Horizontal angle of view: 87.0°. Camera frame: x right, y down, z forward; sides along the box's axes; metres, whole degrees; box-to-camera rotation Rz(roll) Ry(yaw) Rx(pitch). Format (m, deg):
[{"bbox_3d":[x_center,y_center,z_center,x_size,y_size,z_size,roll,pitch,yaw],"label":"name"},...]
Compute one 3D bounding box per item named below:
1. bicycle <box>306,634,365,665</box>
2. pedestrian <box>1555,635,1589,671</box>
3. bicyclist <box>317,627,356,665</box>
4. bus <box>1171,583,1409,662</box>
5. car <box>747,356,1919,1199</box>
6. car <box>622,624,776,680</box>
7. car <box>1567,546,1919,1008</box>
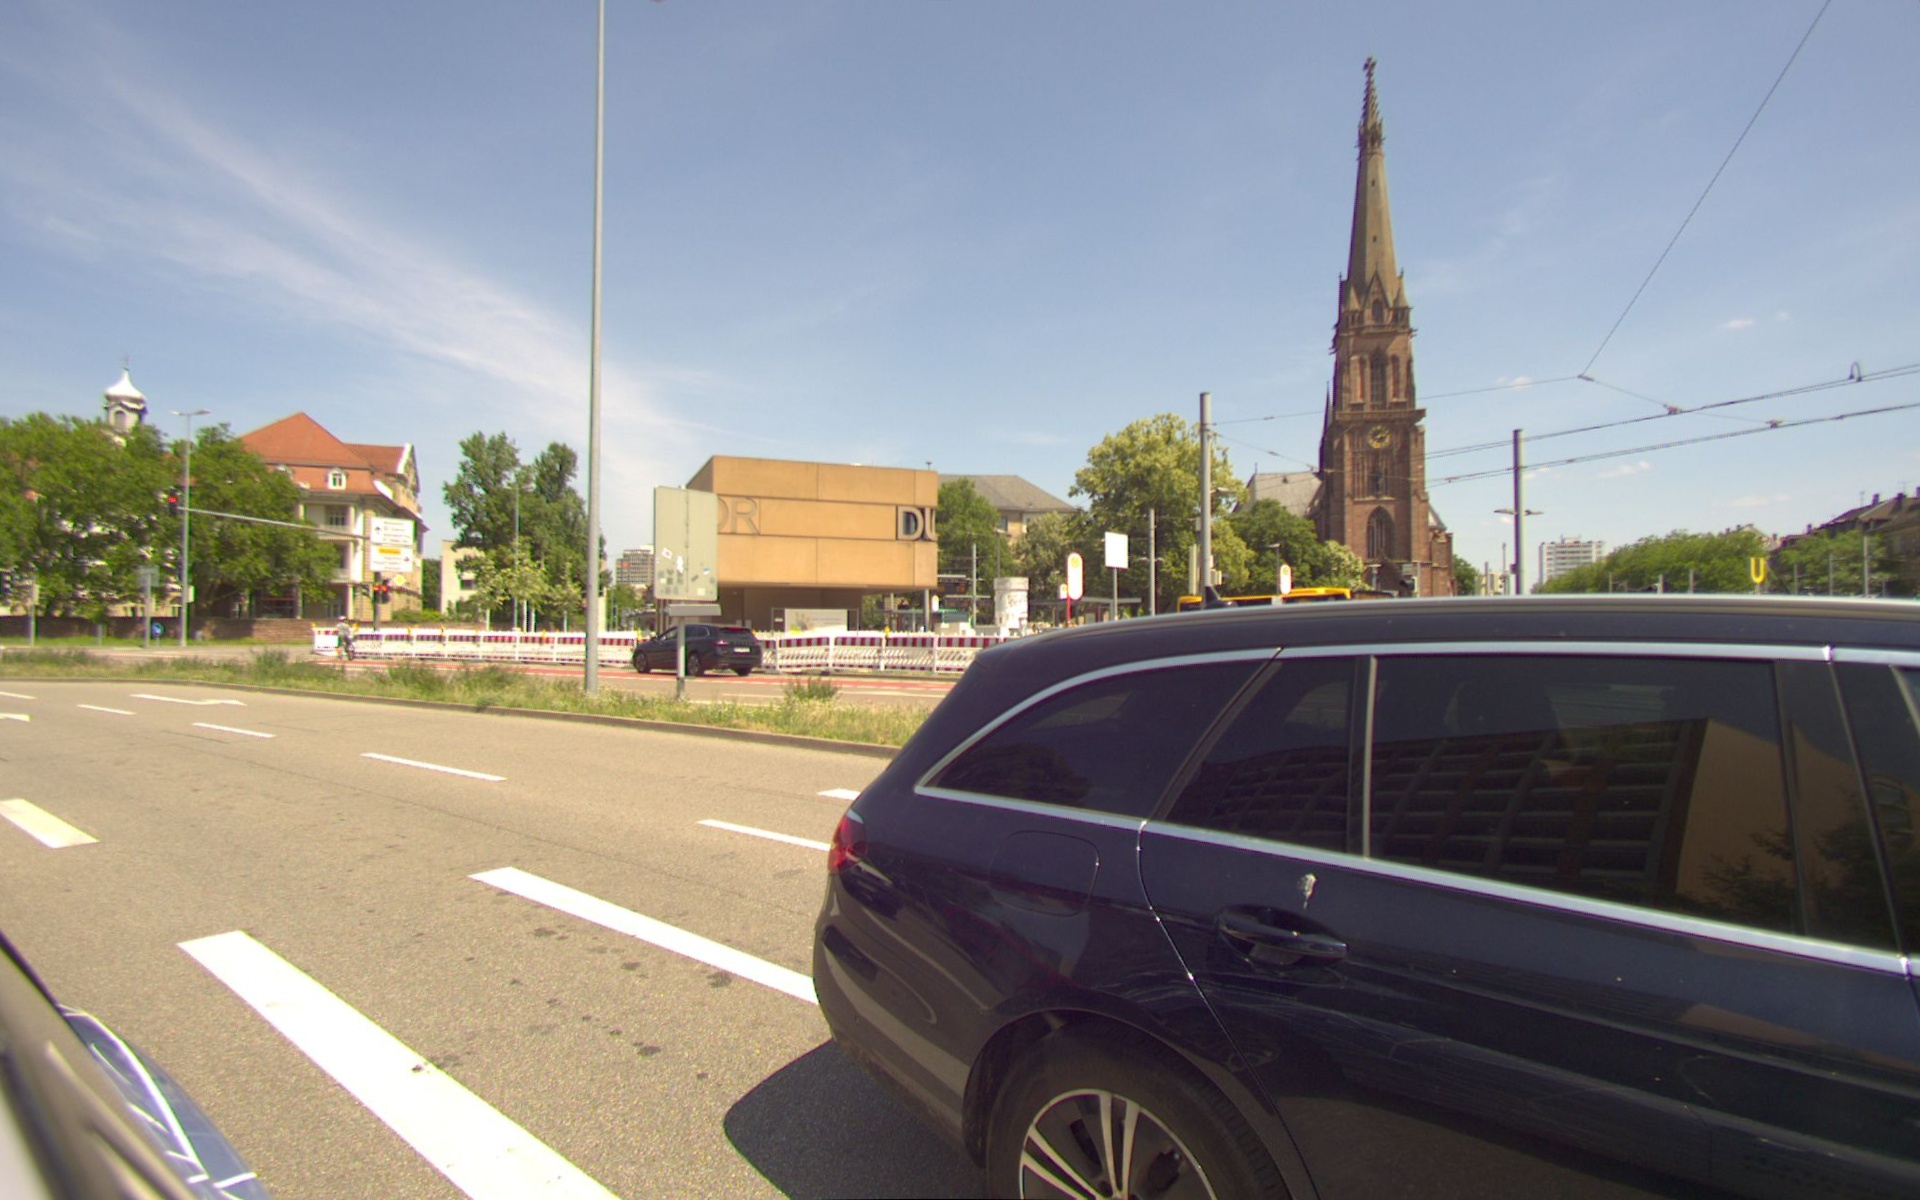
[{"bbox_3d":[-23.409,1.853,37.934,2.220,1.080,0.871,-1,0,26],"label":"bicycle"},{"bbox_3d":[23.312,1.995,38.560,0.518,1.344,1.001,1,-2,-17],"label":"pedestrian"},{"bbox_3d":[-23.362,1.722,37.926,1.432,1.366,0.581,-1,0,26],"label":"bicyclist"},{"bbox_3d":[14.081,1.087,45.042,2.807,3.039,12.259,1,-2,-22],"label":"bus"},{"bbox_3d":[1.869,0.560,1.472,4.803,1.653,1.778,-2,-1,42],"label":"car"},{"bbox_3d":[-7.555,1.456,29.034,4.846,1.476,1.972,-2,-3,43],"label":"car"},{"bbox_3d":[4.486,0.608,3.585,3.736,1.588,1.725,-2,-3,42],"label":"car"}]
